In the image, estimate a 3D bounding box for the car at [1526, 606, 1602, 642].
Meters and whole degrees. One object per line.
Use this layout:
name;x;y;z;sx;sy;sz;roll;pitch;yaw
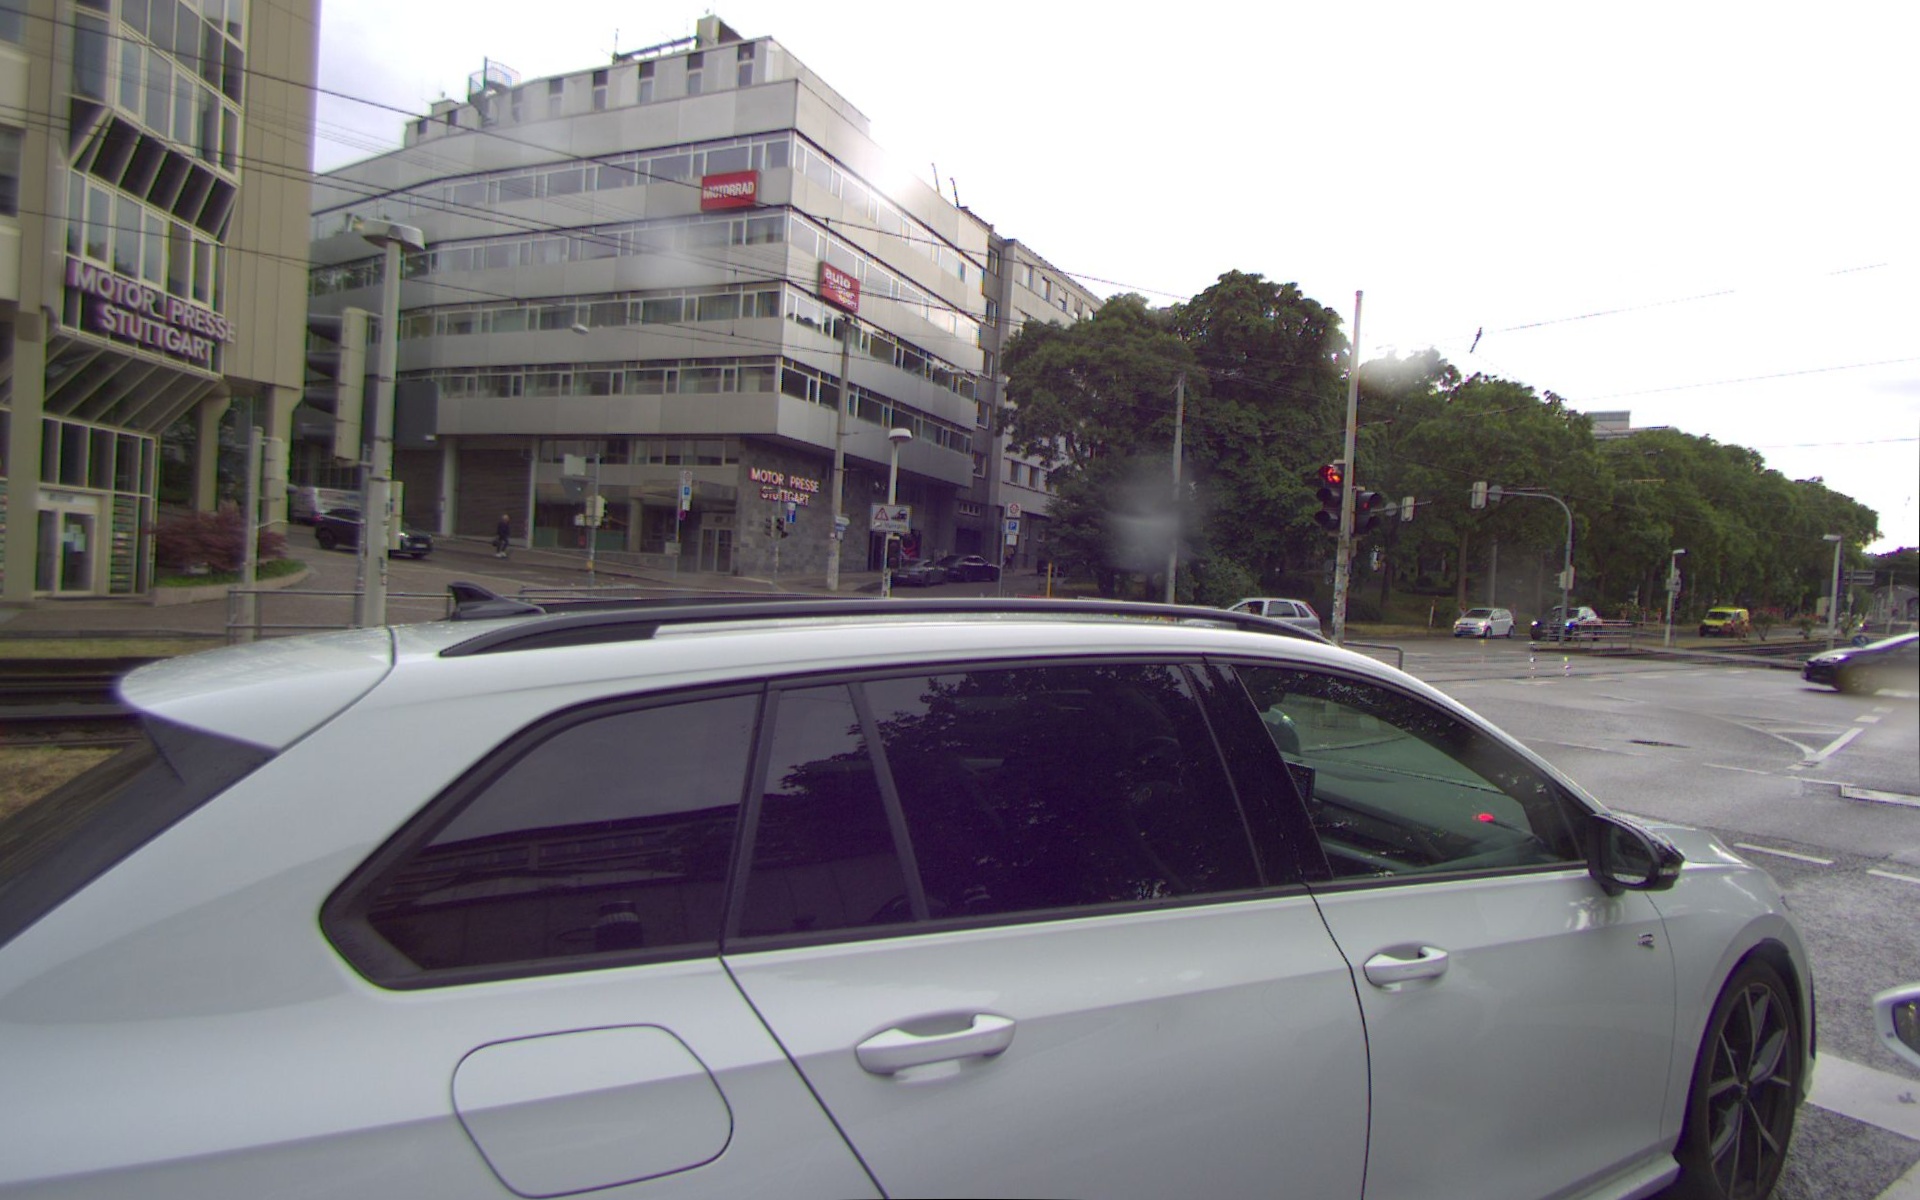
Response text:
car;29.333;1.163;48.776;3.648;1.566;1.905;2;1;-37

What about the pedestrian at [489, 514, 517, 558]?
pedestrian;-20.662;-2.885;45.438;0.833;1.886;0.719;5;2;25

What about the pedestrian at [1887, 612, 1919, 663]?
pedestrian;35.385;1.405;37.508;0.863;1.826;0.860;1;2;-33

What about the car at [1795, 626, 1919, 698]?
car;20.725;1.390;21.747;3.805;1.375;1.628;4;2;33

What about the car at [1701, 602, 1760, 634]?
car;49.904;1.177;65.034;4.525;1.875;1.905;2;1;-38

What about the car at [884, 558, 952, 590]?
car;-2.061;-1.291;50.608;1.842;1.450;4.091;3;2;22

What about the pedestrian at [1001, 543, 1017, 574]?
pedestrian;3.129;-2.650;64.144;0.707;1.886;0.758;5;4;31

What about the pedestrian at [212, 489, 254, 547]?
pedestrian;-24.026;-2.708;33.203;0.746;1.811;0.830;5;2;25

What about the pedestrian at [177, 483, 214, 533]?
pedestrian;-26.742;-3.215;35.139;0.746;1.661;0.719;5;2;25

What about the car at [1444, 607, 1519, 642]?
car;26.061;1.217;50.181;3.648;1.566;1.905;2;1;-37

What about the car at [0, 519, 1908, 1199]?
car;0.295;0.707;2.471;4.423;1.461;1.787;2;0;-30

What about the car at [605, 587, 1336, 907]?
car;0.192;0.724;6.484;4.423;1.461;1.787;2;0;-30

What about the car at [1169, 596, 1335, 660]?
car;7.434;0.686;25.845;3.793;1.375;1.633;3;2;6

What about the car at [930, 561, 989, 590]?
car;0.030;-1.350;55.582;1.842;1.450;3.998;3;2;22

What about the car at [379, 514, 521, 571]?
car;-18.952;-2.132;37.324;4.794;1.601;1.999;7;3;23

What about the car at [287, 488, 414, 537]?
car;-32.033;-4.540;52.994;1.964;2.040;5.403;2;0;30
